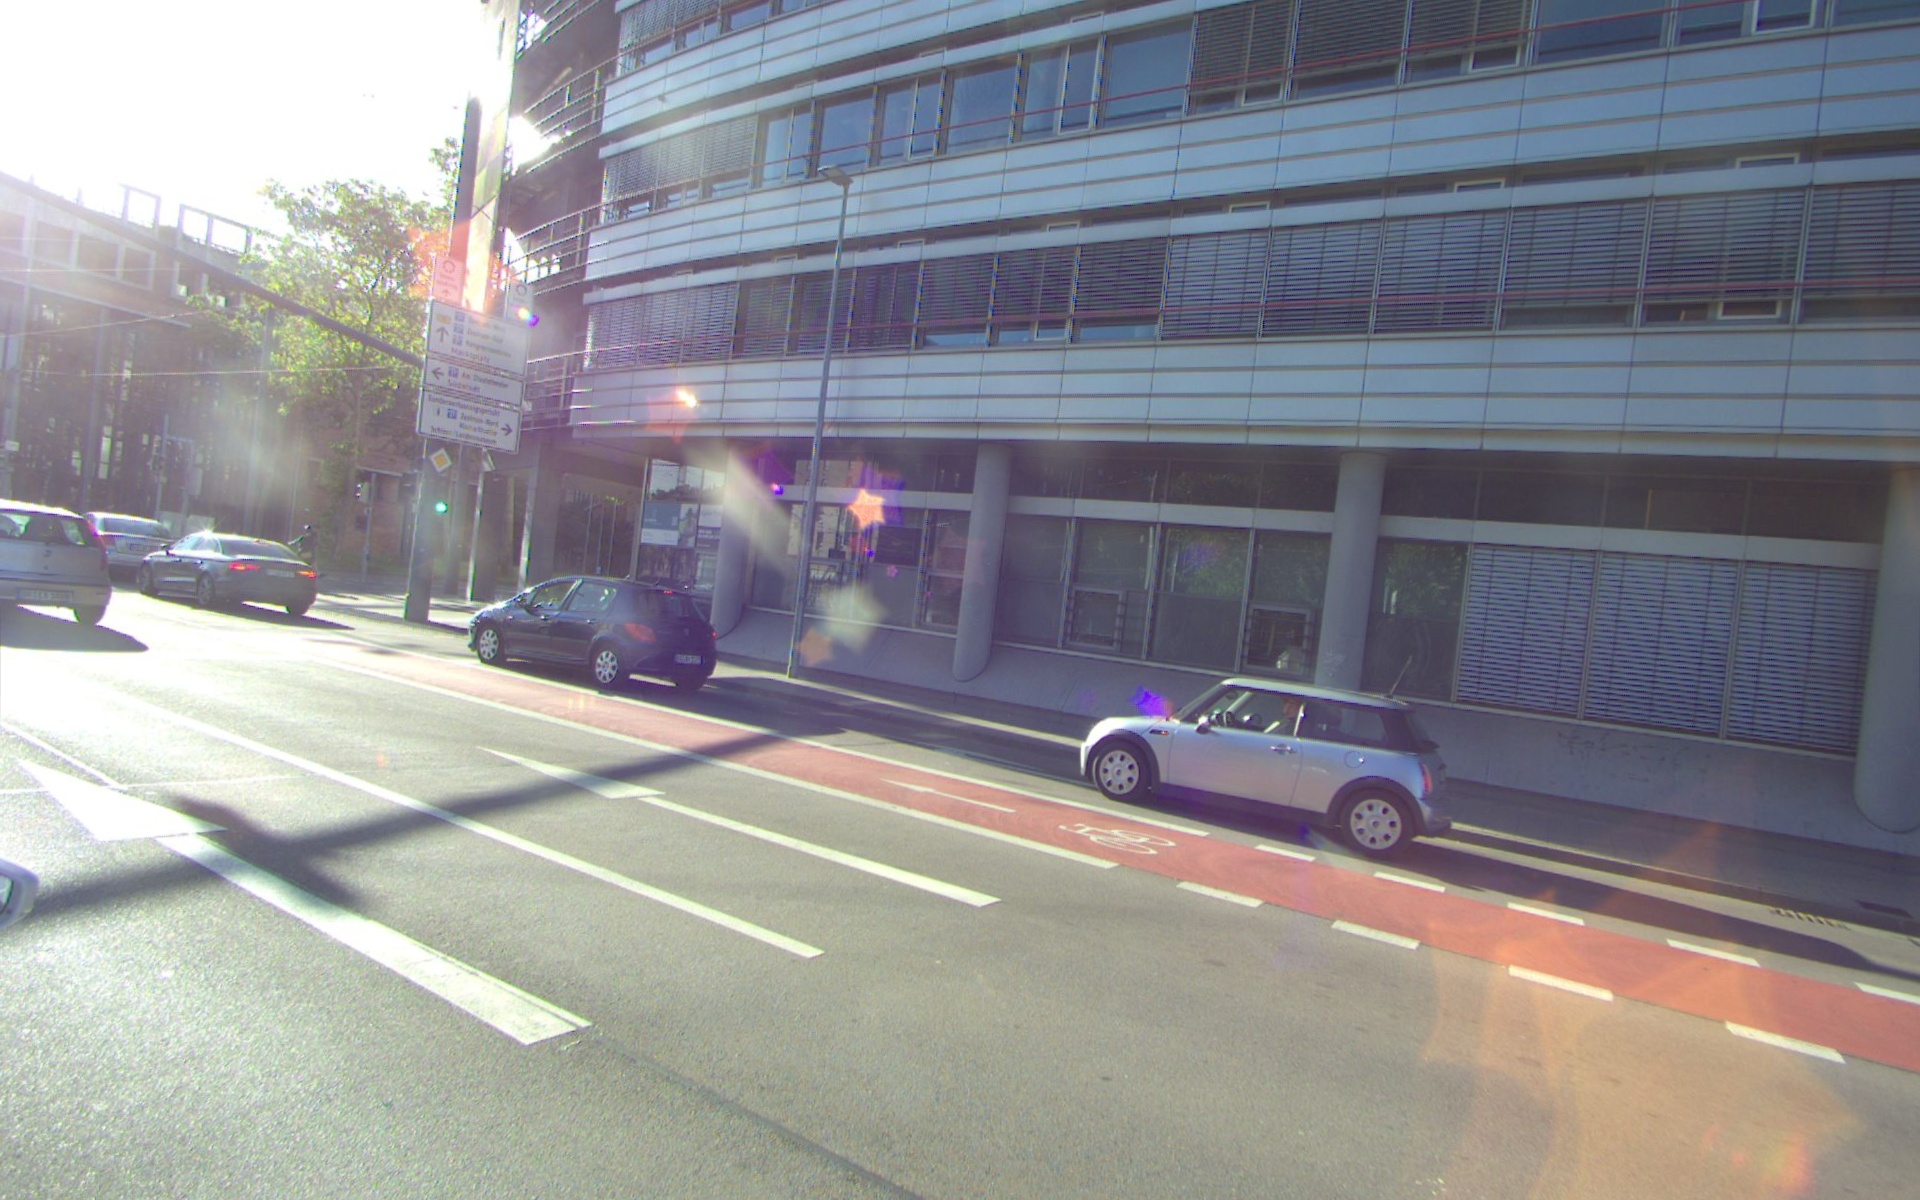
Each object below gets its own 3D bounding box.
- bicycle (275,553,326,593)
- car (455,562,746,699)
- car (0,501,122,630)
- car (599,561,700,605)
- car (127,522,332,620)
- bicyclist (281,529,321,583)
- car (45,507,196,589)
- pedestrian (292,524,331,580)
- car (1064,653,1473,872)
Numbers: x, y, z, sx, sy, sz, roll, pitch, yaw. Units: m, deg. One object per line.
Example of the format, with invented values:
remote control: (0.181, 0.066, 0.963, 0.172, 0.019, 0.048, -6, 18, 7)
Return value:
bicycle: (-19.091, -0.794, 29.167, 0.657, 1.031, 2.174, 8, 1, -20)
car: (-5.370, 0.425, 14.949, 3.910, 1.493, 1.864, 7, 0, 30)
car: (-12.788, -0.572, 13.183, 3.372, 1.474, 1.563, 7, 0, 29)
car: (-13.853, -0.742, 45.121, 1.837, 1.492, 3.968, 7, -1, 33)
car: (-14.465, -0.579, 19.891, 3.950, 1.457, 1.698, 6, -1, 29)
bicyclist: (-18.960, -1.269, 28.951, 0.657, 1.425, 0.811, 7, 1, -20)
car: (-19.967, -1.252, 23.888, 3.919, 1.493, 1.696, 7, 0, 35)
pedestrian: (-21.617, -1.604, 33.538, 0.578, 1.754, 0.790, 6, -1, 39)
car: (3.029, 1.478, 10.012, 3.478, 1.405, 1.664, 7, -1, 31)
